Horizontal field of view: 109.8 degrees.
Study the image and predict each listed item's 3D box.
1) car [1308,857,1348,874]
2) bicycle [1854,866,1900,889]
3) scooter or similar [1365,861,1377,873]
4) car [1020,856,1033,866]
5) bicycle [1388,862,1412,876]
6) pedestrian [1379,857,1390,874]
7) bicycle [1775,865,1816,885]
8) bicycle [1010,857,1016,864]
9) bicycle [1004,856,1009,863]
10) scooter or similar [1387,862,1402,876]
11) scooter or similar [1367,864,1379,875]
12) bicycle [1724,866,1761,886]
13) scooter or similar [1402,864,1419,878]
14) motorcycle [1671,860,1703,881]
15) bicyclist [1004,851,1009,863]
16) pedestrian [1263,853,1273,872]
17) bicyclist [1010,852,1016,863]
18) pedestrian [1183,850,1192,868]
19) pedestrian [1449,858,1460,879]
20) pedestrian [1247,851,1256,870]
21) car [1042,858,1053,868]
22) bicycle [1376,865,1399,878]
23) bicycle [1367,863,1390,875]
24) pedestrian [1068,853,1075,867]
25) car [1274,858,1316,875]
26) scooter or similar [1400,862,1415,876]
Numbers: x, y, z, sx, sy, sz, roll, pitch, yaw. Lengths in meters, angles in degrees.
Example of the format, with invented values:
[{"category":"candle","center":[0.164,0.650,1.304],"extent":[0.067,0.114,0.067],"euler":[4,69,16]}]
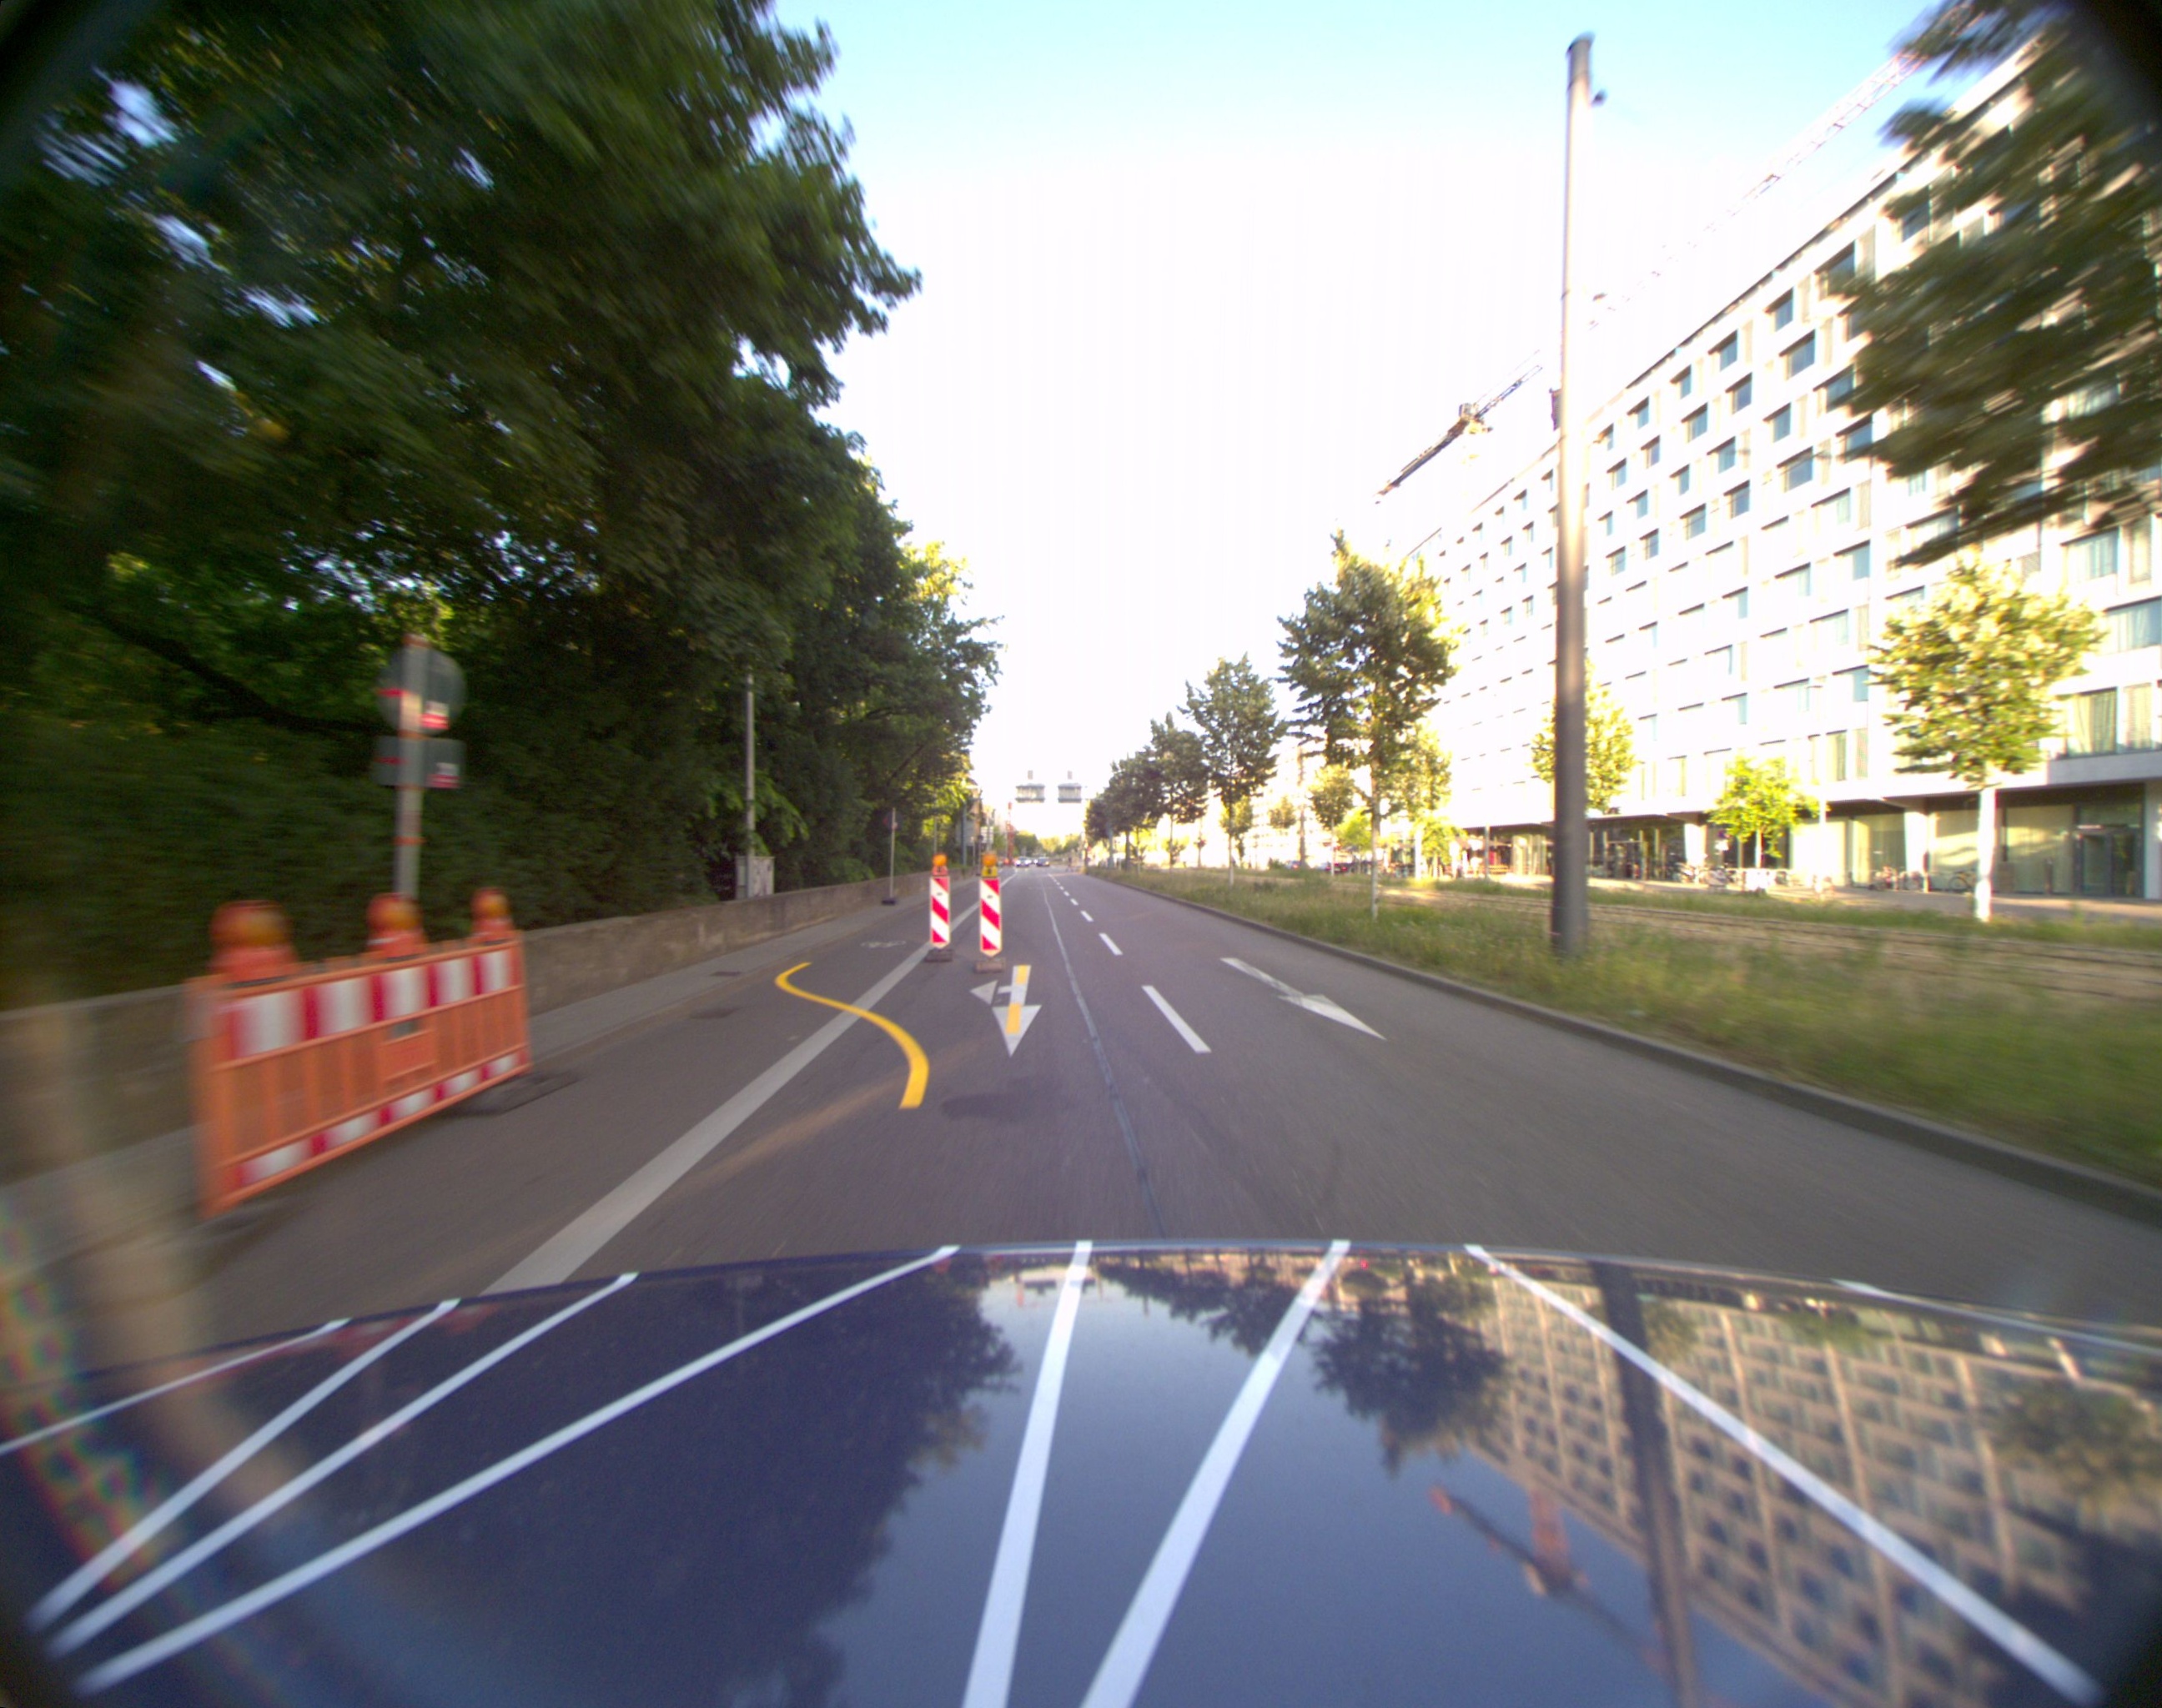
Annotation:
[{"category":"car","center":[21.964,1.013,67.648],"extent":[1.891,1.431,4.222],"euler":[0,0,-4]},{"category":"bicycle","center":[35.645,1.061,34.024],"extent":[1.793,1.014,0.421],"euler":[0,0,-7]},{"category":"scooter or similar","center":[27.124,1.180,71.177],"extent":[0.975,1.079,0.338],"euler":[-2,3,-3]},{"category":"car","center":[-8.527,1.053,119.427],"extent":[1.834,1.588,4.259],"euler":[-1,0,-2]},{"category":"bicycle","center":[27.374,1.297,65.245],"extent":[1.915,1.192,0.442],"euler":[-1,0,-7]},{"category":"pedestrian","center":[29.661,1.115,74.304],"extent":[0.682,1.594,0.707],"euler":[-3,1,-36]},{"category":"bicycle","center":[35.758,1.049,38.029],"extent":[1.793,1.014,0.421],"euler":[0,0,-7]},{"category":"bicycle","center":[-10.451,1.004,116.748],"extent":[0.721,1.045,2.043],"euler":[-2,1,0]},{"category":"bicycle","center":[-11.476,0.843,116.600],"extent":[0.528,1.045,2.047],"euler":[3,1,0]},{"category":"scooter or similar","center":[27.265,1.280,66.014],"extent":[1.185,1.210,0.338],"euler":[0,1,-3]},{"category":"scooter or similar","center":[26.955,1.441,70.071],"extent":[1.009,1.028,0.291],"euler":[0,2,-3]},{"category":"bicycle","center":[35.479,1.174,40.734],"extent":[1.748,1.014,0.421],"euler":[0,0,-7]},{"category":"scooter or similar","center":[27.164,1.385,62.672],"extent":[1.185,1.051,0.338],"euler":[-4,-1,-3]},{"category":"motorcycle","center":[35.506,0.957,44.518],"extent":[1.899,1.165,0.515],"euler":[-1,1,-18]},{"category":"bicyclist","center":[-11.453,0.459,116.679],"extent":[0.510,1.691,0.768],"euler":[3,2,0]},{"category":"pedestrian","center":[19.638,0.886,79.879],"extent":[0.833,2.002,0.854],"euler":[0,1,0]},{"category":"bicyclist","center":[-10.457,0.500,116.657],"extent":[0.705,1.691,0.768],"euler":[-1,-1,-1]},{"category":"pedestrian","center":[11.454,0.527,81.520],"extent":[0.708,1.825,0.762],"euler":[-2,0,-5]},{"category":"pedestrian","center":[29.360,1.131,59.745],"extent":[0.498,1.590,0.603],"euler":[-2,0,-2]},{"category":"pedestrian","center":[17.732,0.697,79.088],"extent":[0.680,1.912,0.708],"euler":[-5,0,-1]},{"category":"car","center":[-5.281,1.365,120.179],"extent":[1.703,1.588,4.259],"euler":[-1,0,-2]},{"category":"bicycle","center":[27.082,1.527,67.212],"extent":[1.915,1.053,0.442],"euler":[-1,0,-7]},{"category":"bicycle","center":[26.852,1.319,68.496],"extent":[1.915,1.053,0.442],"euler":[-1,0,-7]},{"category":"pedestrian","center":[-1.005,0.603,79.753],"extent":[0.580,1.495,0.619],"euler":[2,1,6]},{"category":"car","center":[18.987,1.089,67.650],"extent":[2.021,1.432,4.799],"euler":[2,0,-4]},{"category":"scooter or similar","center":[27.497,1.253,63.996],"extent":[1.185,1.157,0.338],"euler":[0,1,-3]}]
